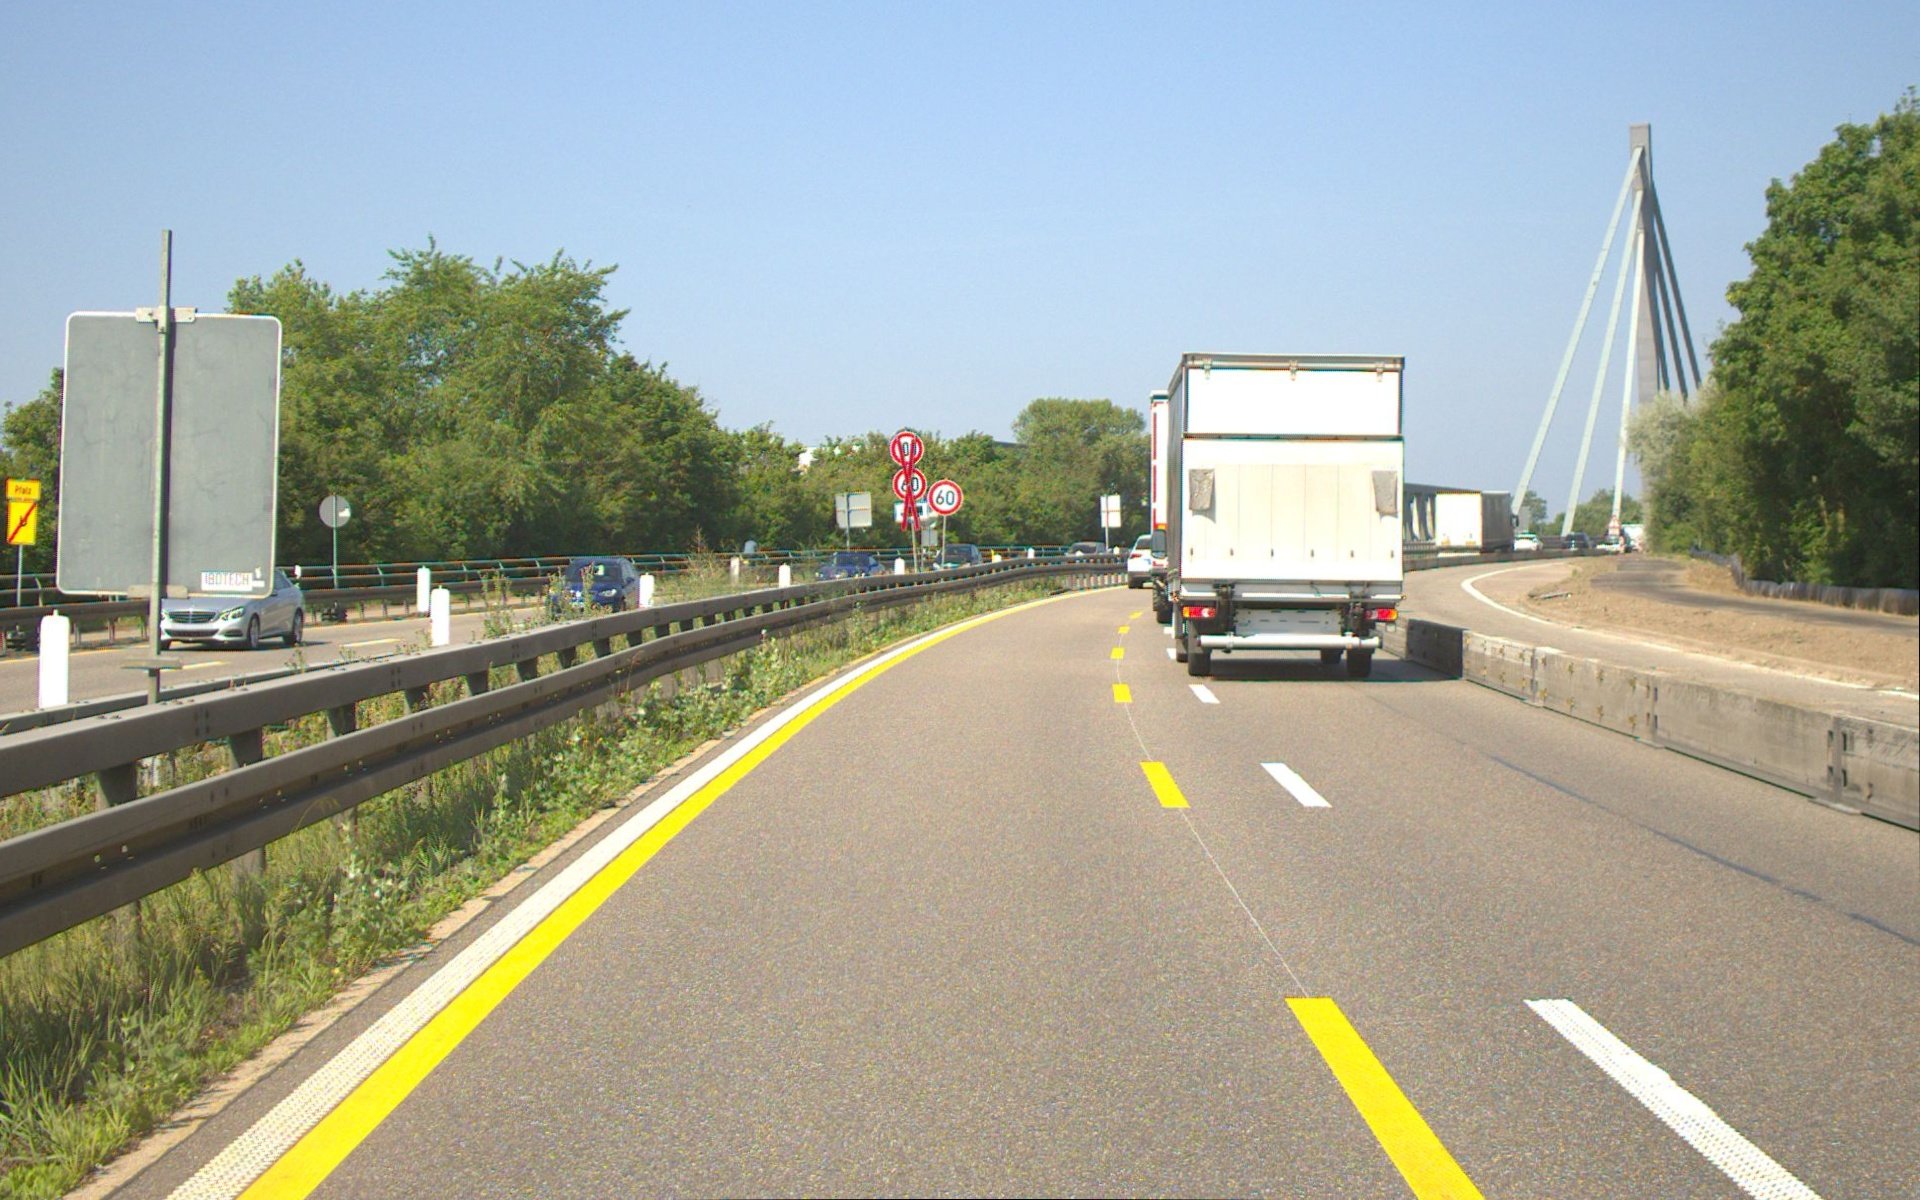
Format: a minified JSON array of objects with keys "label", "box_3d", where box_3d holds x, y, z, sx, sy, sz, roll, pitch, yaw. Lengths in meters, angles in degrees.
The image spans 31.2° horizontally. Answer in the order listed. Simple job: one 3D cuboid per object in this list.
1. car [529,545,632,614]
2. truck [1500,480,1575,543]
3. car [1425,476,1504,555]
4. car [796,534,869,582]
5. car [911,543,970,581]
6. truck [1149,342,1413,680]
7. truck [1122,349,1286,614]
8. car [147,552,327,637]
[{"label":"car","box_3d":[-8.757,-0.494,79.568,1.738,1.493,4.000,-1,1,2]},{"label":"truck","box_3d":[41.610,-6.392,247.357,4.223,4.252,10.235,-2,2,15]},{"label":"car","box_3d":[28.979,-4.916,197.232,4.209,4.237,10.658,-2,2,9]},{"label":"car","box_3d":[-4.299,-1.434,116.635,1.994,1.546,4.000,-1,1,4]},{"label":"car","box_3d":[-0.841,-1.666,150.364,1.994,1.546,3.999,-1,1,8]},{"label":"truck","box_3d":[3.474,-0.983,38.682,2.634,3.416,7.232,1,1,3]},{"label":"truck","box_3d":[4.309,-2.087,61.933,2.634,4.453,7.233,1,1,2]},{"label":"car","box_3d":[-13.085,-0.127,62.496,1.885,1.415,4.859,-1,1,5]}]
